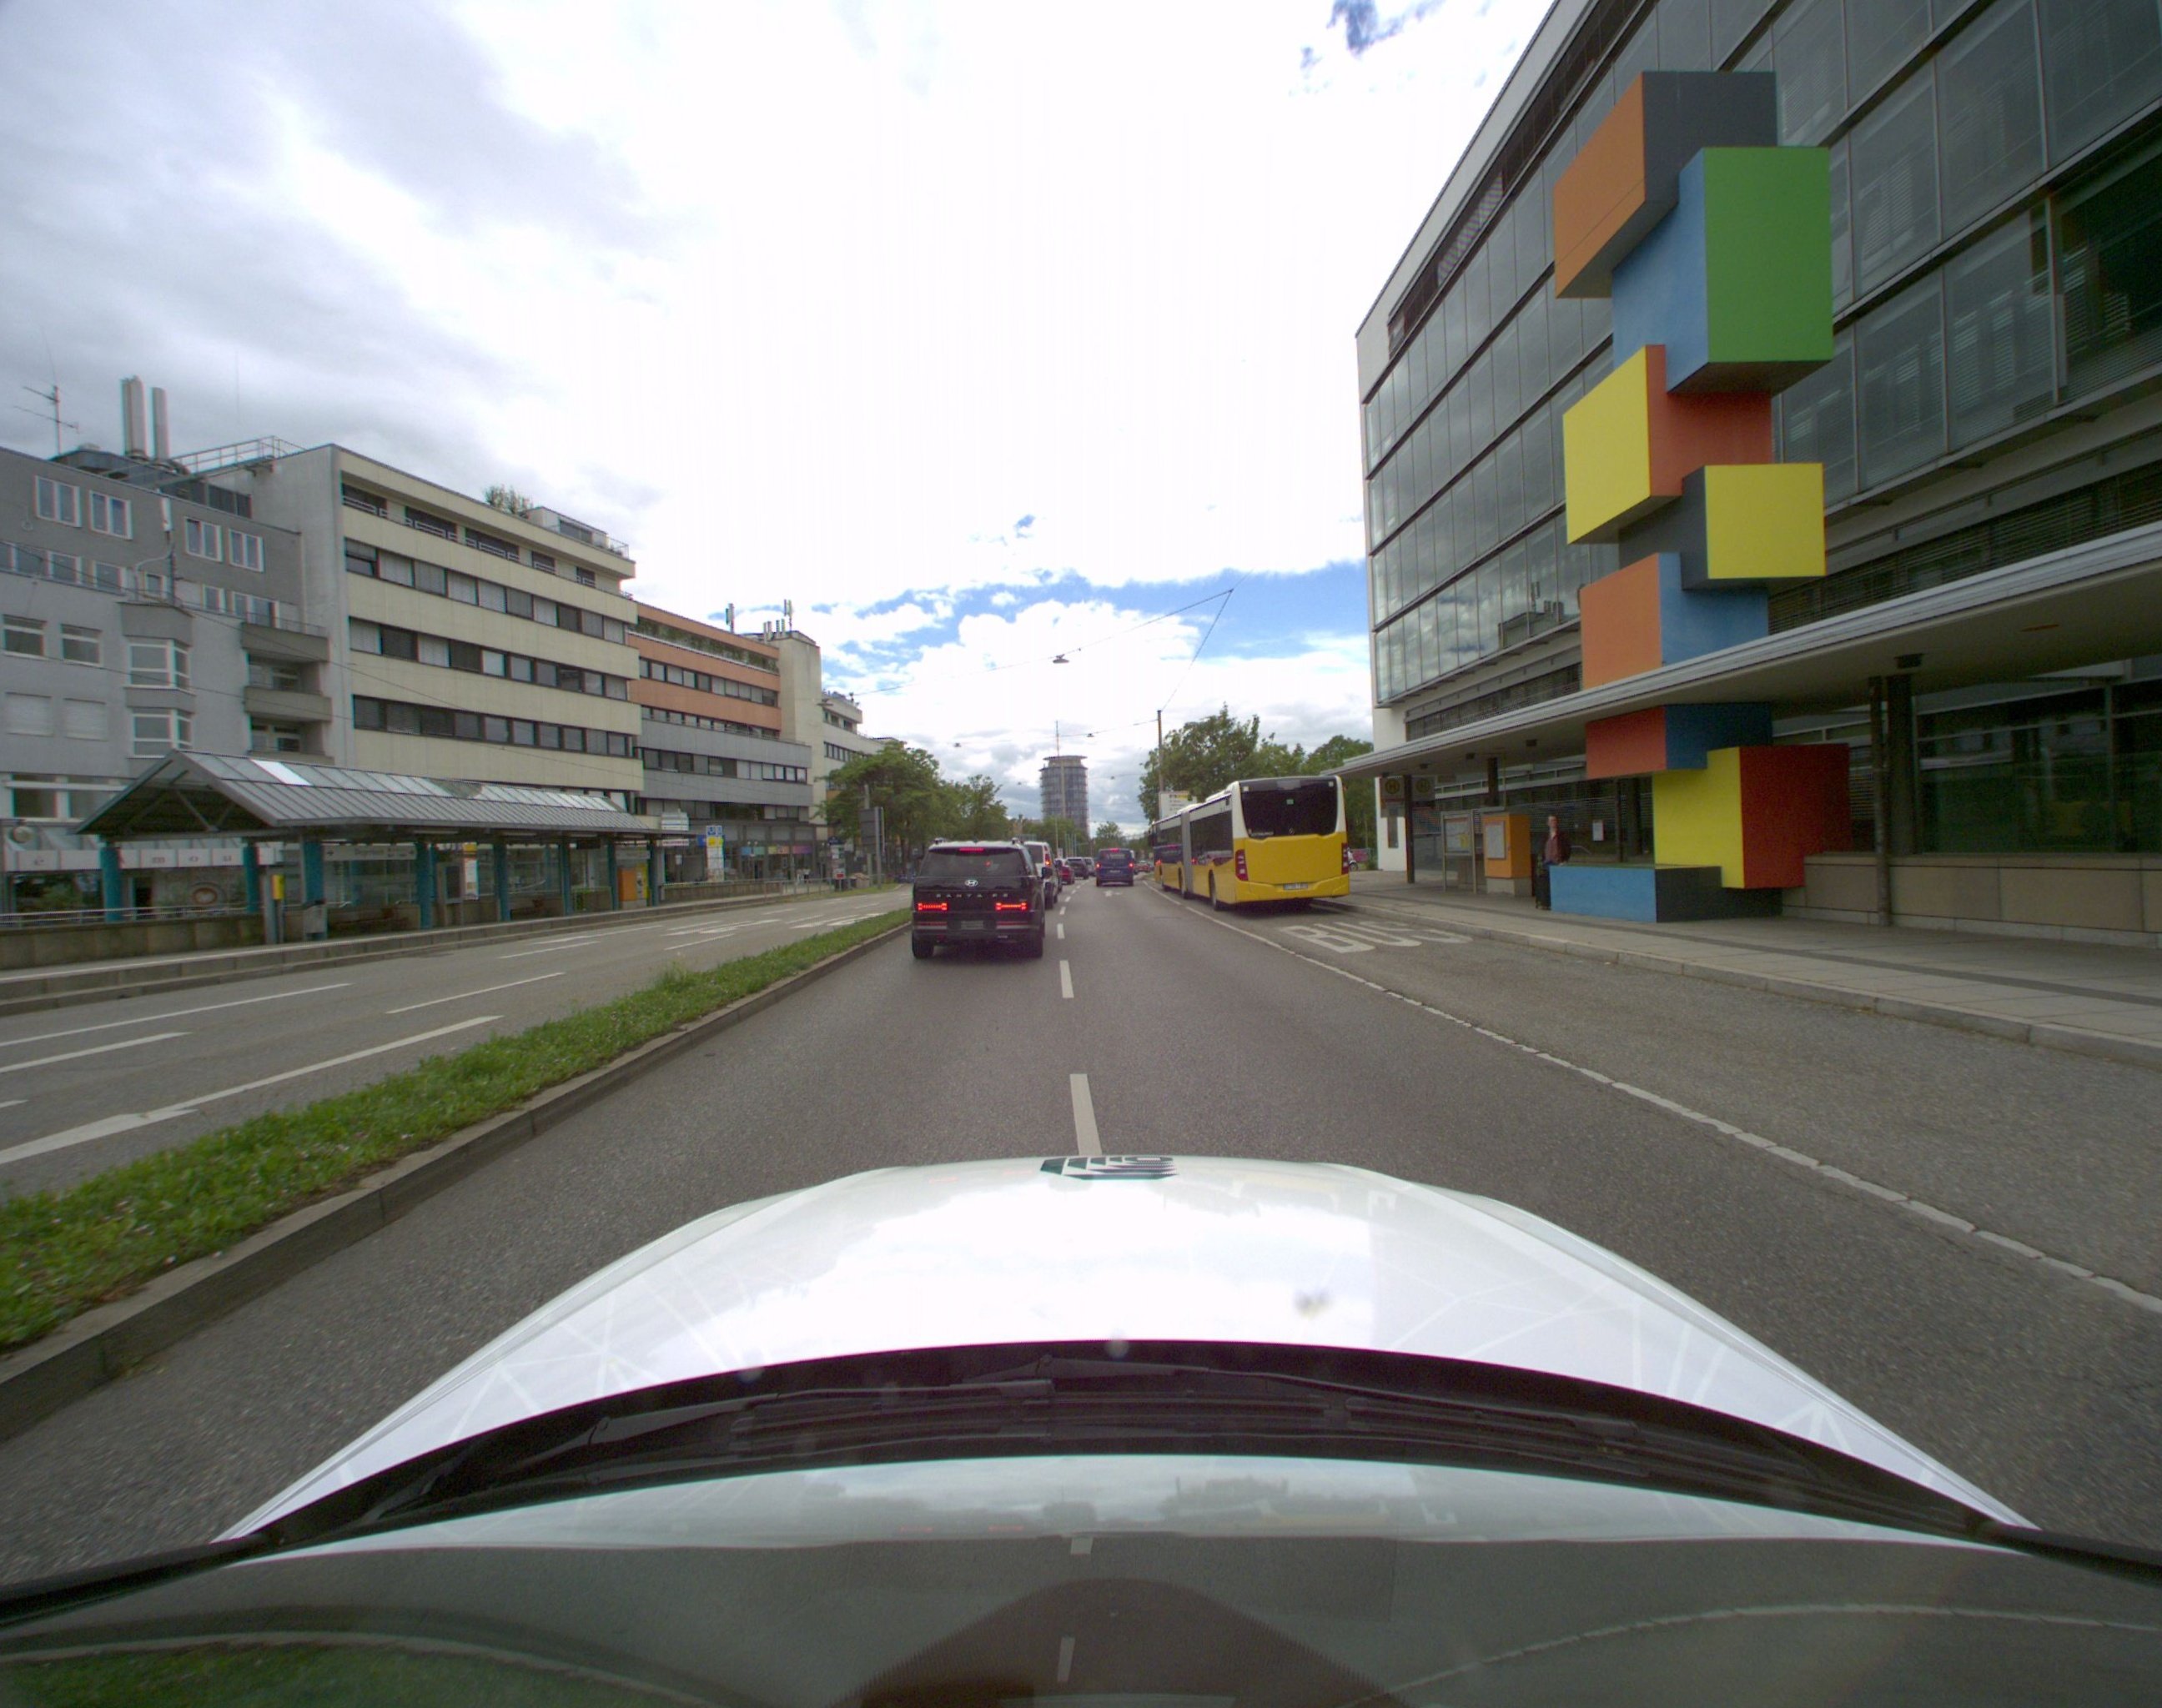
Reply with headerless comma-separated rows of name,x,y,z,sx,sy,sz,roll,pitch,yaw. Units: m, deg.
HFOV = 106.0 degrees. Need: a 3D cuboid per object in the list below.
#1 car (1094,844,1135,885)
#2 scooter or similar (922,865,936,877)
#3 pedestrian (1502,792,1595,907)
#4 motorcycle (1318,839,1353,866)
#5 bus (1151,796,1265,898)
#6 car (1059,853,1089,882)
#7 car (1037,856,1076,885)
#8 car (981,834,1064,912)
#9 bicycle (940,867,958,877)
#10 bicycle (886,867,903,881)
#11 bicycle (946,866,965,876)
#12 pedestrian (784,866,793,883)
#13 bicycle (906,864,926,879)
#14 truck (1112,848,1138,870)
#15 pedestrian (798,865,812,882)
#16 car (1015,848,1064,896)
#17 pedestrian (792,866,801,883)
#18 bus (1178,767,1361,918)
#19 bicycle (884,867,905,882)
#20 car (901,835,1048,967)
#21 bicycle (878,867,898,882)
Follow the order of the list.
car,1.717,0.532,41.930,1.940,1.965,4.543,-2,-1,2
scooter or similar,-15.933,1.765,85.350,1.316,1.269,0.340,-1,-1,2
pedestrian,8.656,-0.078,15.134,1.136,2.013,0.880,-3,0,-1
motorcycle,12.104,-0.062,38.738,0.586,1.222,1.566,-2,-1,-31
bus,4.505,-0.254,30.925,2.704,3.163,9.125,-3,0,0
car,-0.474,0.954,60.245,1.986,2.013,4.002,-1,0,2
car,-1.328,0.916,45.623,1.862,1.486,4.001,-3,-2,1
car,-1.618,0.488,24.412,1.866,2.013,5.078,-3,0,2
bicycle,-15.256,2.046,94.197,2.062,1.153,0.710,0,-1,-6
bicycle,-16.938,1.795,73.879,1.479,1.253,0.427,-2,-1,-45
bicycle,-14.834,2.056,96.322,2.062,1.153,0.710,-1,-1,-6
pedestrian,-26.780,1.845,74.613,0.595,1.527,0.551,-3,0,-41
bicycle,-15.100,1.617,74.614,0.619,1.253,1.694,-3,-1,43
truck,4.552,0.482,83.603,1.981,2.166,5.575,-1,-1,11
pedestrian,-25.769,1.799,75.970,0.905,1.527,0.841,-3,0,-41
car,-1.702,0.747,33.549,1.742,1.723,3.995,-6,-1,-3
pedestrian,-26.183,1.900,75.020,0.502,1.527,0.626,-3,0,-39
bus,4.585,-0.272,21.956,2.704,3.108,8.867,-3,0,0
bicycle,-16.695,1.798,72.887,0.619,1.253,1.694,-3,-1,43
car,-1.525,0.614,13.280,1.917,1.751,4.675,0,0,-2
bicycle,-17.548,1.881,74.076,0.619,1.253,1.694,-3,-1,43
